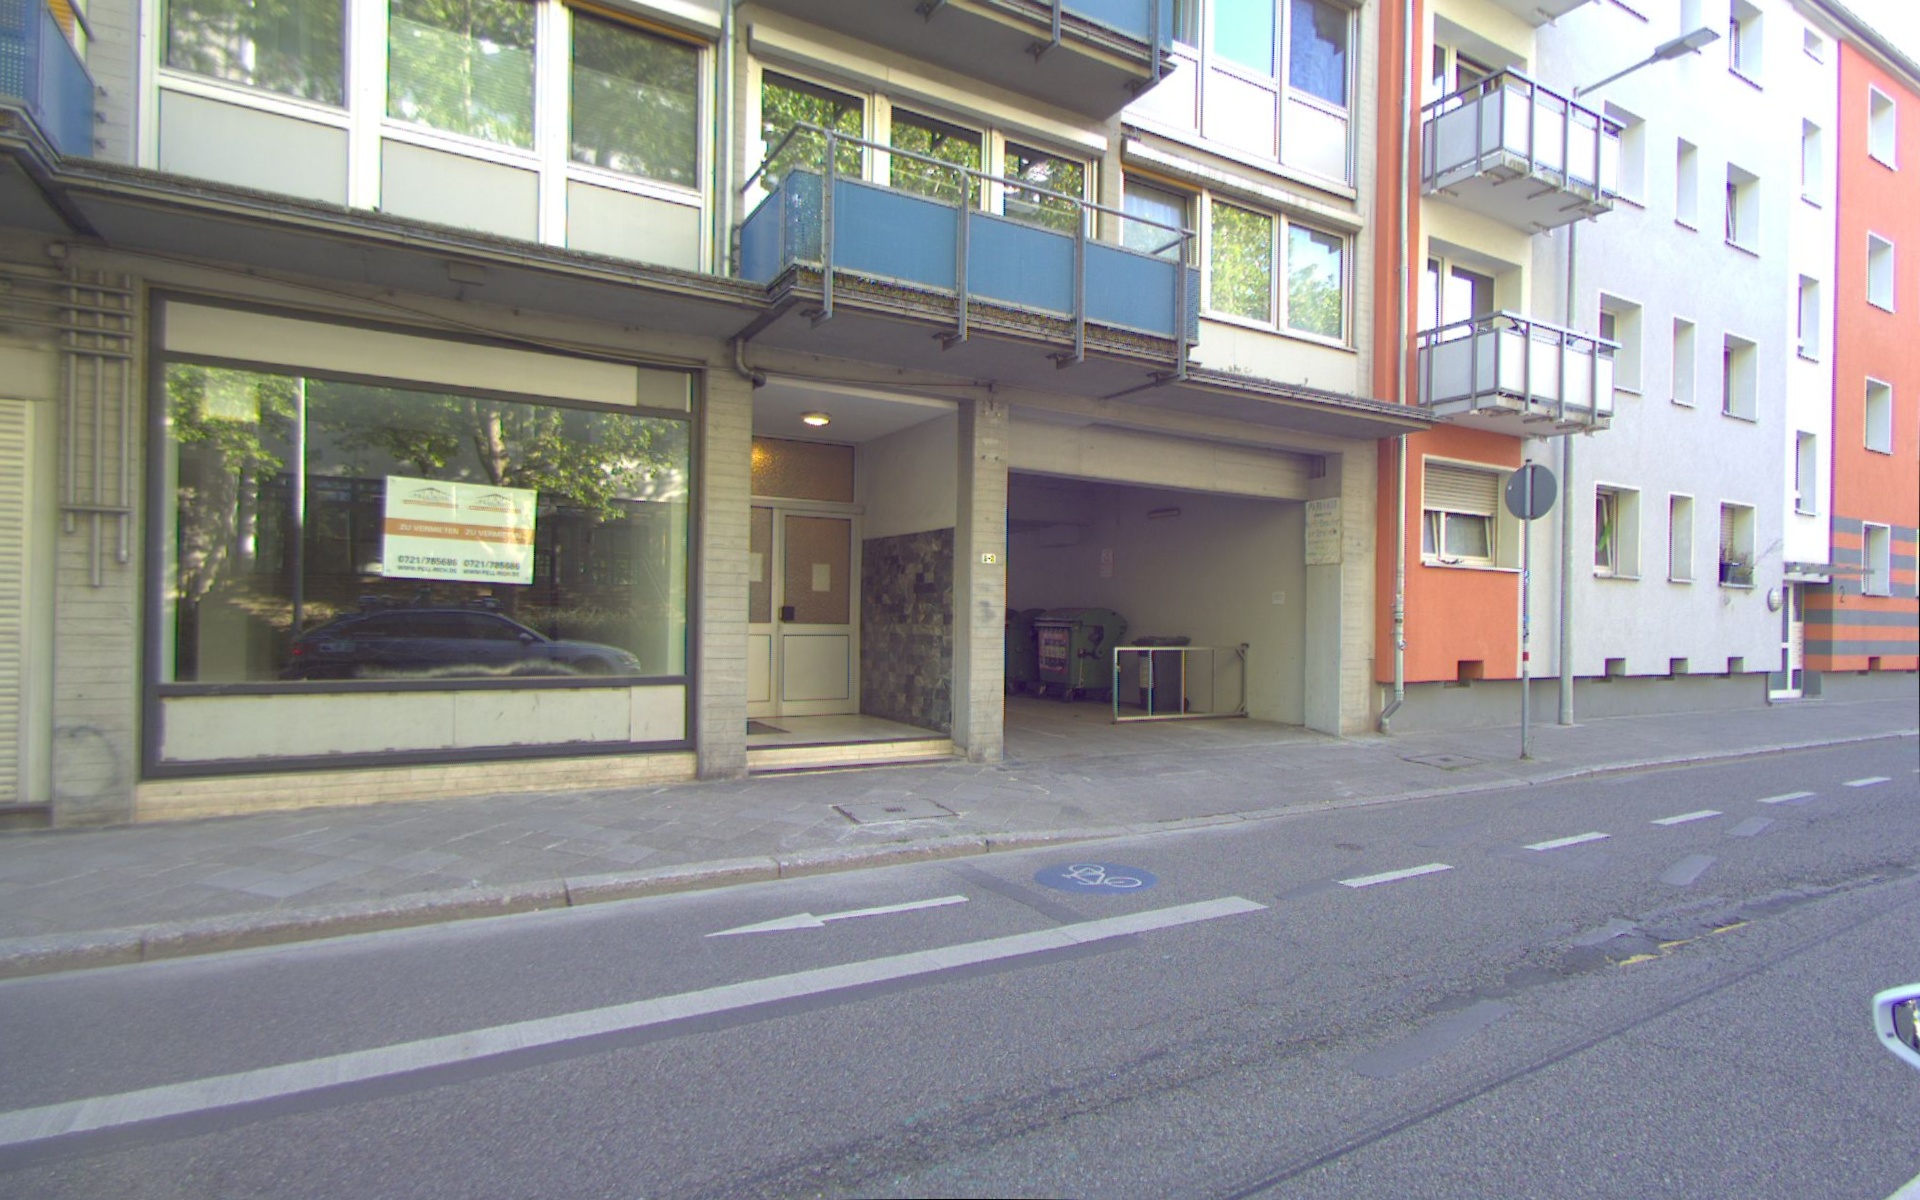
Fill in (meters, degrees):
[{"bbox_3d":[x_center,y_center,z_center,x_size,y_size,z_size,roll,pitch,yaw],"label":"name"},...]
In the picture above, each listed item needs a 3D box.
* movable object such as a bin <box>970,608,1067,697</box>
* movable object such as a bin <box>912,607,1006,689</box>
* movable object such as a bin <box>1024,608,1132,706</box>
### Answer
[{"bbox_3d":[0.989,0.868,17.174,1.119,1.449,1.322,1,0,-28],"label":"movable object such as a bin"},{"bbox_3d":[-0.039,0.866,18.876,1.119,1.449,1.666,1,0,-28],"label":"movable object such as a bin"},{"bbox_3d":[1.840,0.863,15.851,1.128,1.449,1.342,1,0,-28],"label":"movable object such as a bin"}]
